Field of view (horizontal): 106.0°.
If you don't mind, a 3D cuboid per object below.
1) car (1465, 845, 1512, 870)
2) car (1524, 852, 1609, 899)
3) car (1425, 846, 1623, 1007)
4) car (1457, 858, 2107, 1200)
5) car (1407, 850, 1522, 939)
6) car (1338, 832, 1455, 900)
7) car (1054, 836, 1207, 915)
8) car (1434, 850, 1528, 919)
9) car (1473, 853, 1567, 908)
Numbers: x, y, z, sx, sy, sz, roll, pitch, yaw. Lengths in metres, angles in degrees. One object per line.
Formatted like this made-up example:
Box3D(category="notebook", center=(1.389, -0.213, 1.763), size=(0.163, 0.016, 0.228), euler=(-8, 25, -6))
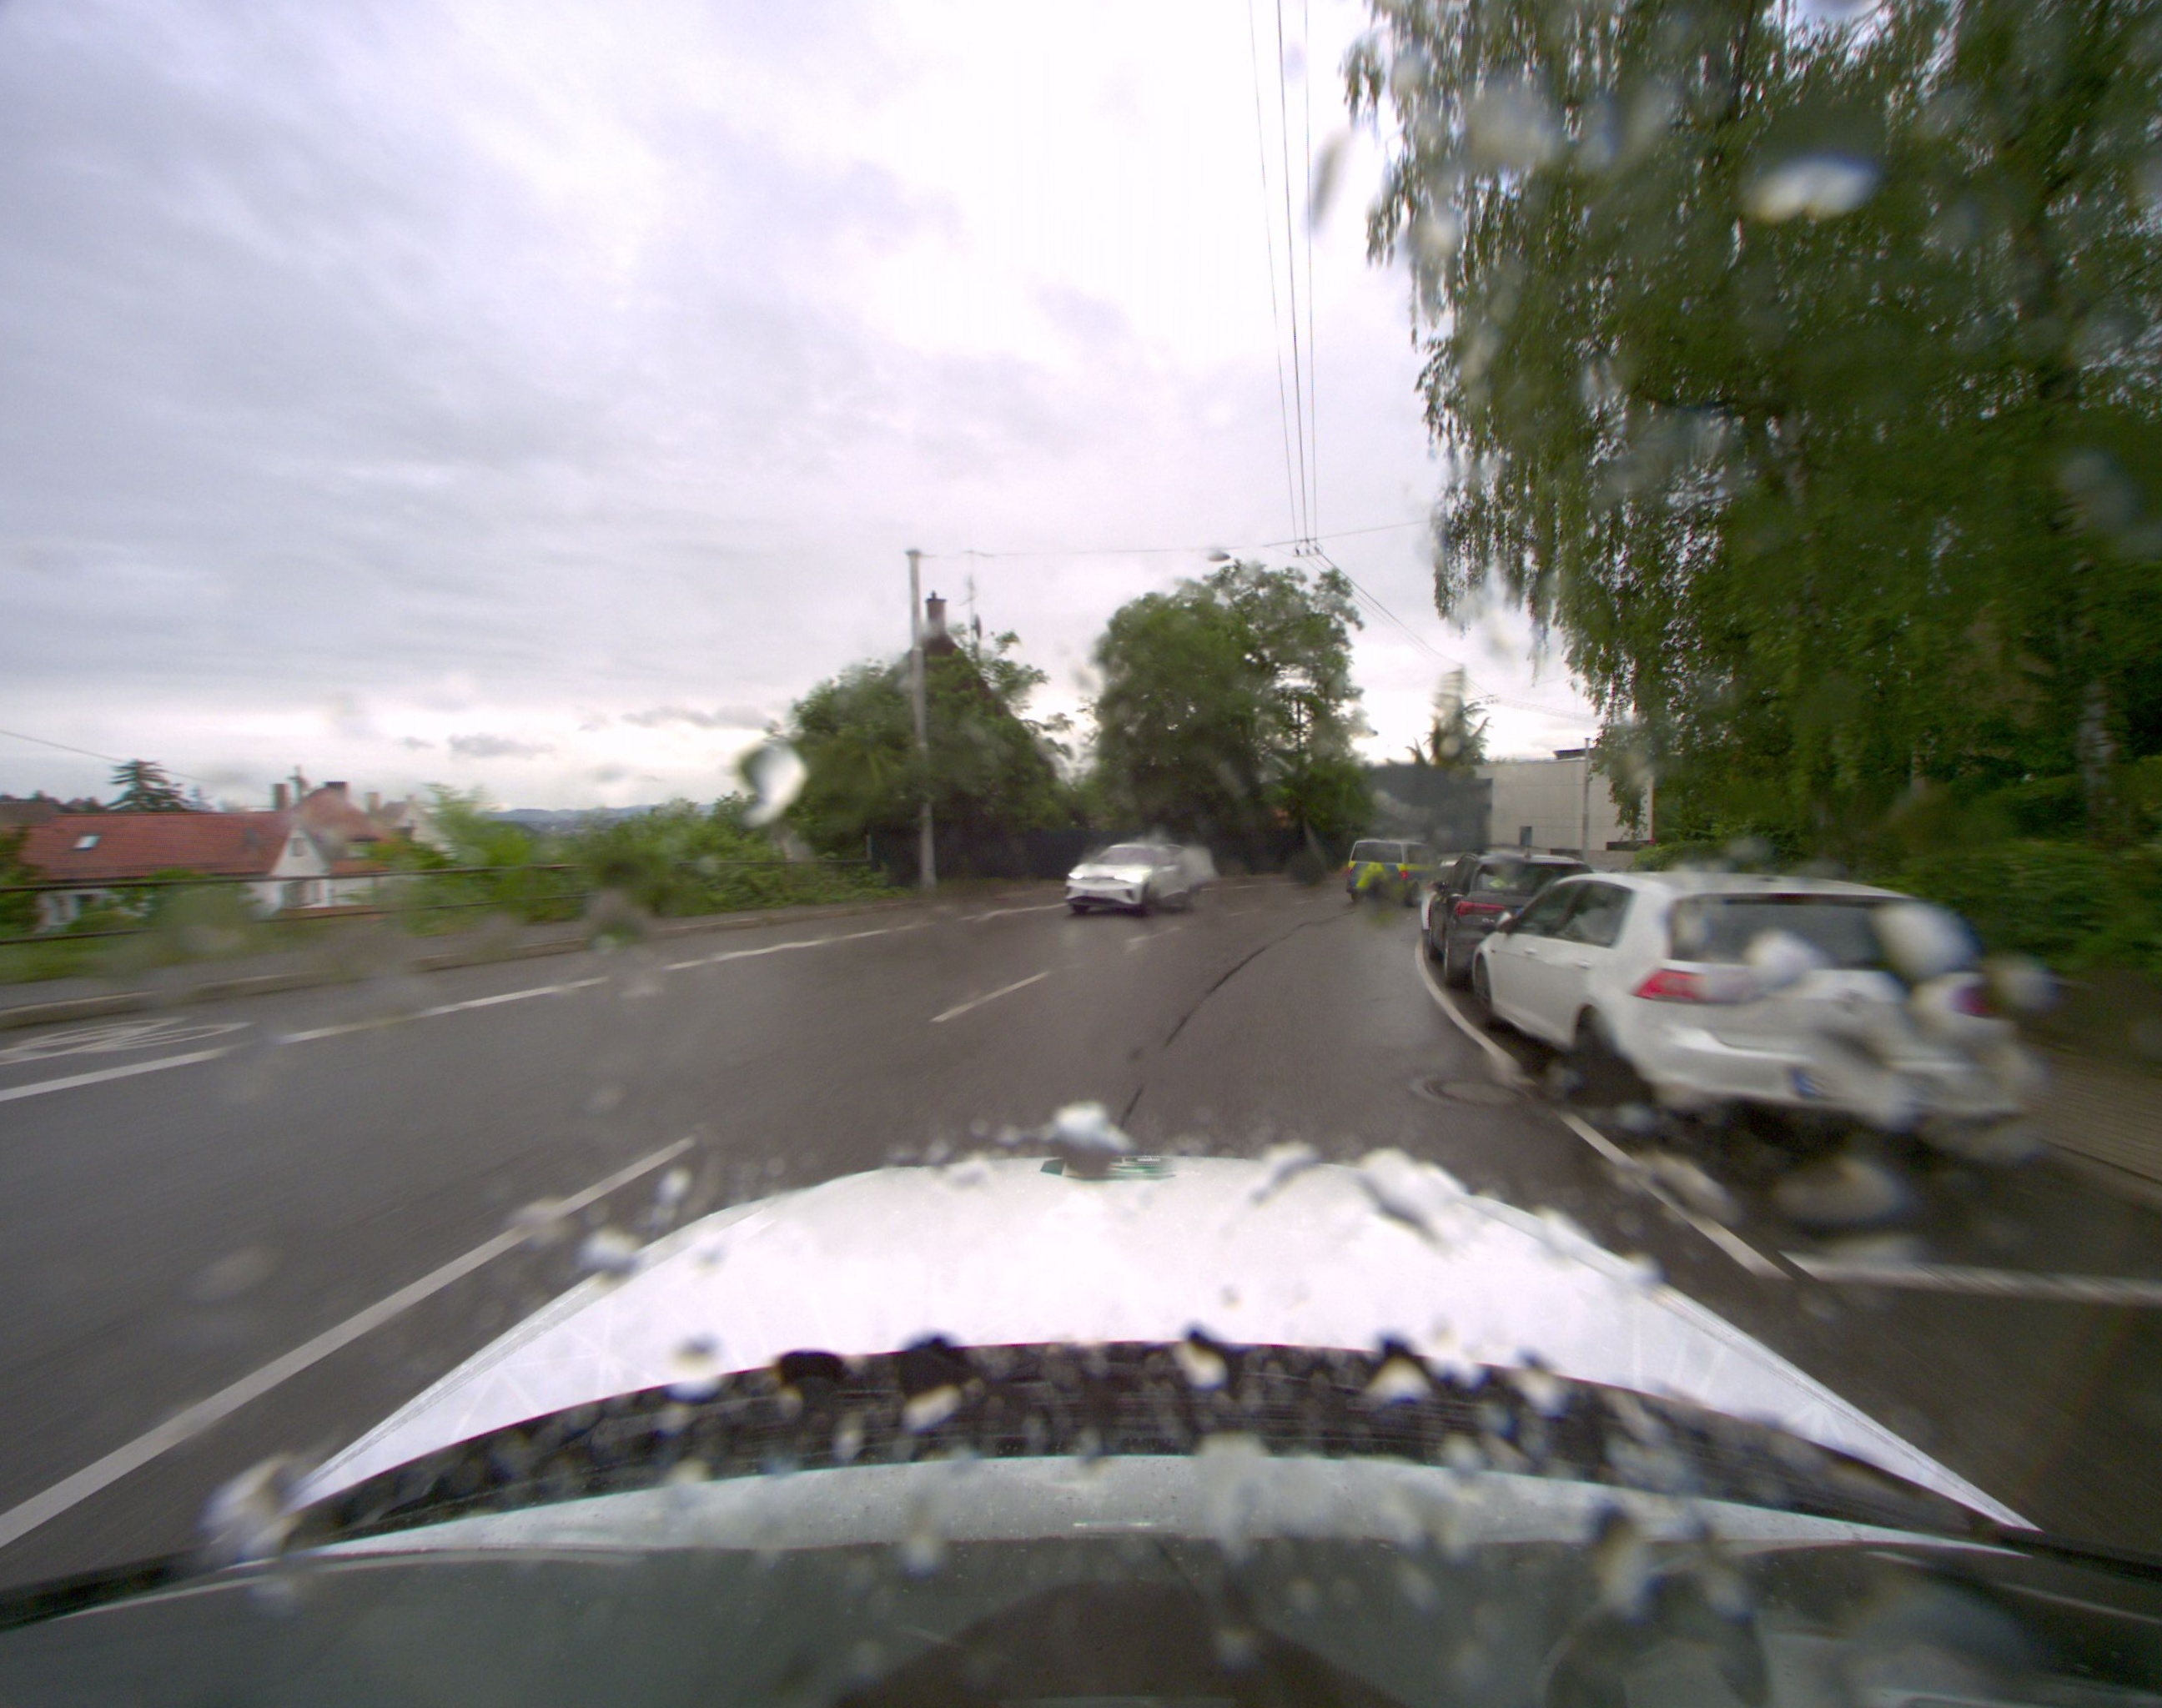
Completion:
Box3D(category="car", center=(25.160, 0.171, 50.456), size=(1.877, 1.301, 4.018), euler=(2, 2, 16))
Box3D(category="car", center=(16.403, 0.690, 27.437), size=(1.666, 1.471, 3.761), euler=(-2, -1, 43))
Box3D(category="car", center=(5.305, 0.706, 10.271), size=(1.610, 1.519, 4.350), euler=(-1, 1, 21))
Box3D(category="car", center=(4.090, 0.775, 5.768), size=(1.777, 1.446, 4.120), euler=(2, 0, 13))
Box3D(category="car", center=(7.284, 0.677, 15.473), size=(1.710, 1.464, 4.054), euler=(-1, -1, 26))
Box3D(category="car", center=(10.012, 0.379, 25.637), size=(1.975, 1.893, 4.598), euler=(3, 1, 40))
Box3D(category="car", center=(1.286, 0.419, 19.005), size=(1.808, 1.607, 4.313), euler=(-2, 0, 30))
Box3D(category="car", center=(9.805, 0.683, 19.826), size=(1.604, 1.505, 3.628), euler=(-1, -1, 33))
Box3D(category="car", center=(12.768, 0.723, 23.573), size=(1.698, 1.435, 4.094), euler=(-1, -1, 38))
